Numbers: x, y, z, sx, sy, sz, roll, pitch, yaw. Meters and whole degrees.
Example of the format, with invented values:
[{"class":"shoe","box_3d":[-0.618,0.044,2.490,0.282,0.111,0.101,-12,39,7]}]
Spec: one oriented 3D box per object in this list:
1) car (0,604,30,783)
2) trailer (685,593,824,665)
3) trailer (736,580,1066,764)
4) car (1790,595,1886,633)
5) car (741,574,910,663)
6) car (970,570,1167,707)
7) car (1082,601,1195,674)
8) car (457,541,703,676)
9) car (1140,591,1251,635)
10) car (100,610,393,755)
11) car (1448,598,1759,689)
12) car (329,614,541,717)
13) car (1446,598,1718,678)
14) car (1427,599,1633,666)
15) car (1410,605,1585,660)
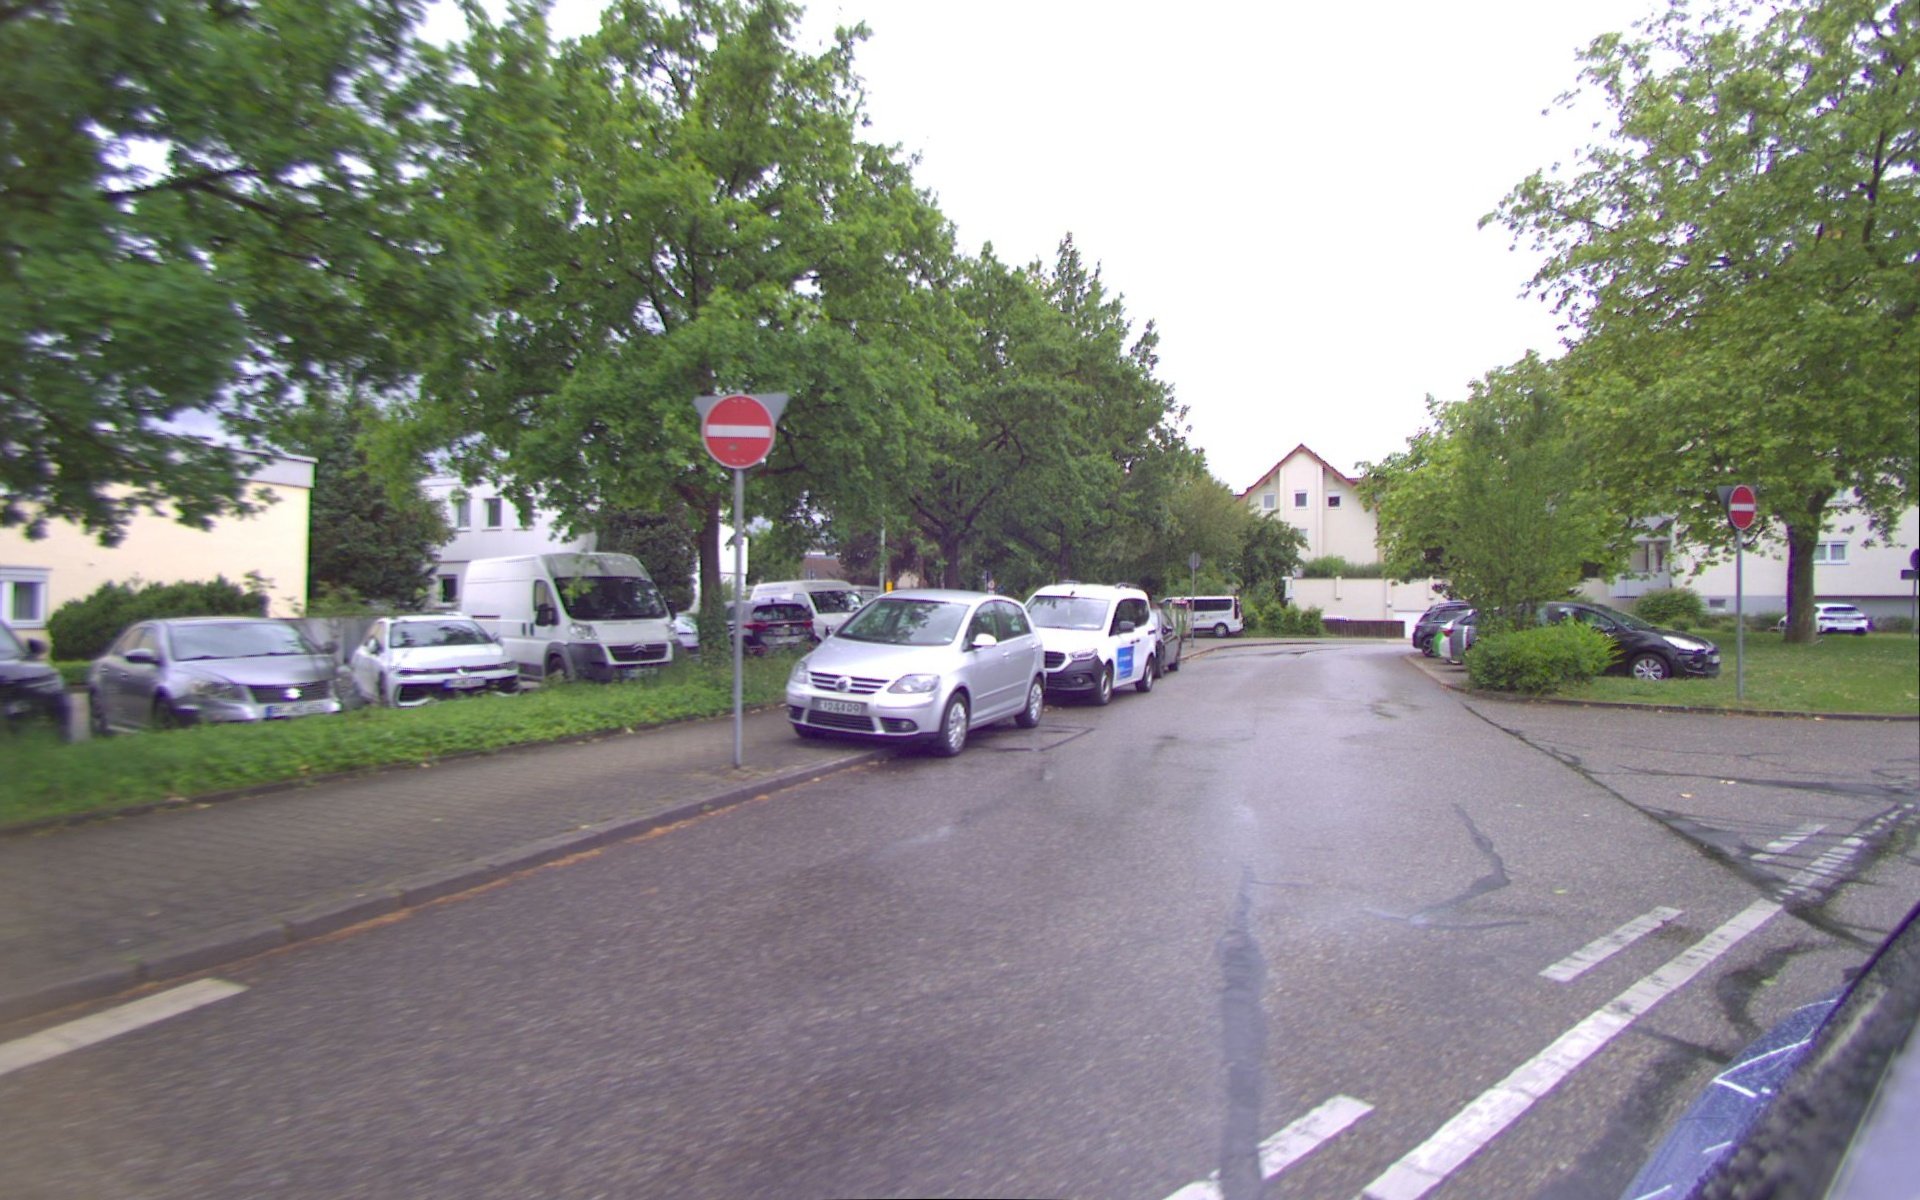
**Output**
[{"class":"car","box_3d":[-9.883,0.803,9.283,3.644,1.505,1.733,-1,-1,43]},{"class":"trailer","box_3d":[-4.689,0.600,22.670,1.679,1.455,4.001,0,0,-33]},{"class":"trailer","box_3d":[-0.371,0.609,11.046,1.976,1.562,4.395,0,0,21]},{"class":"car","box_3d":[36.916,0.551,42.656,1.724,1.499,3.746,0,0,18]},{"class":"car","box_3d":[-3.502,0.401,25.573,1.965,2.039,4.758,0,0,-41]},{"class":"car","box_3d":[1.903,0.540,16.406,1.979,1.905,4.177,-1,0,25]},{"class":"car","box_3d":[3.954,0.730,21.904,1.743,1.400,4.159,0,0,20]},{"class":"car","box_3d":[-6.971,0.106,18.104,1.967,2.039,5.823,0,0,-44]},{"class":"car","box_3d":[11.332,0.593,48.709,4.940,2.039,2.070,0,-1,23]},{"class":"car","box_3d":[-8.201,0.798,11.510,4.022,1.354,1.709,-1,0,39]},{"class":"car","box_3d":[11.724,0.699,18.736,1.733,1.461,4.582,0,0,-39]},{"class":"car","box_3d":[-8.068,0.891,15.403,1.821,1.312,3.989,0,0,-44]},{"class":"car","box_3d":[12.933,0.708,21.311,1.733,1.461,4.582,0,0,-39]},{"class":"car","box_3d":[13.749,0.714,24.581,1.733,1.461,4.018,0,0,-39]},{"class":"car","box_3d":[15.037,0.845,28.486,1.733,1.388,4.018,0,0,-39]}]
